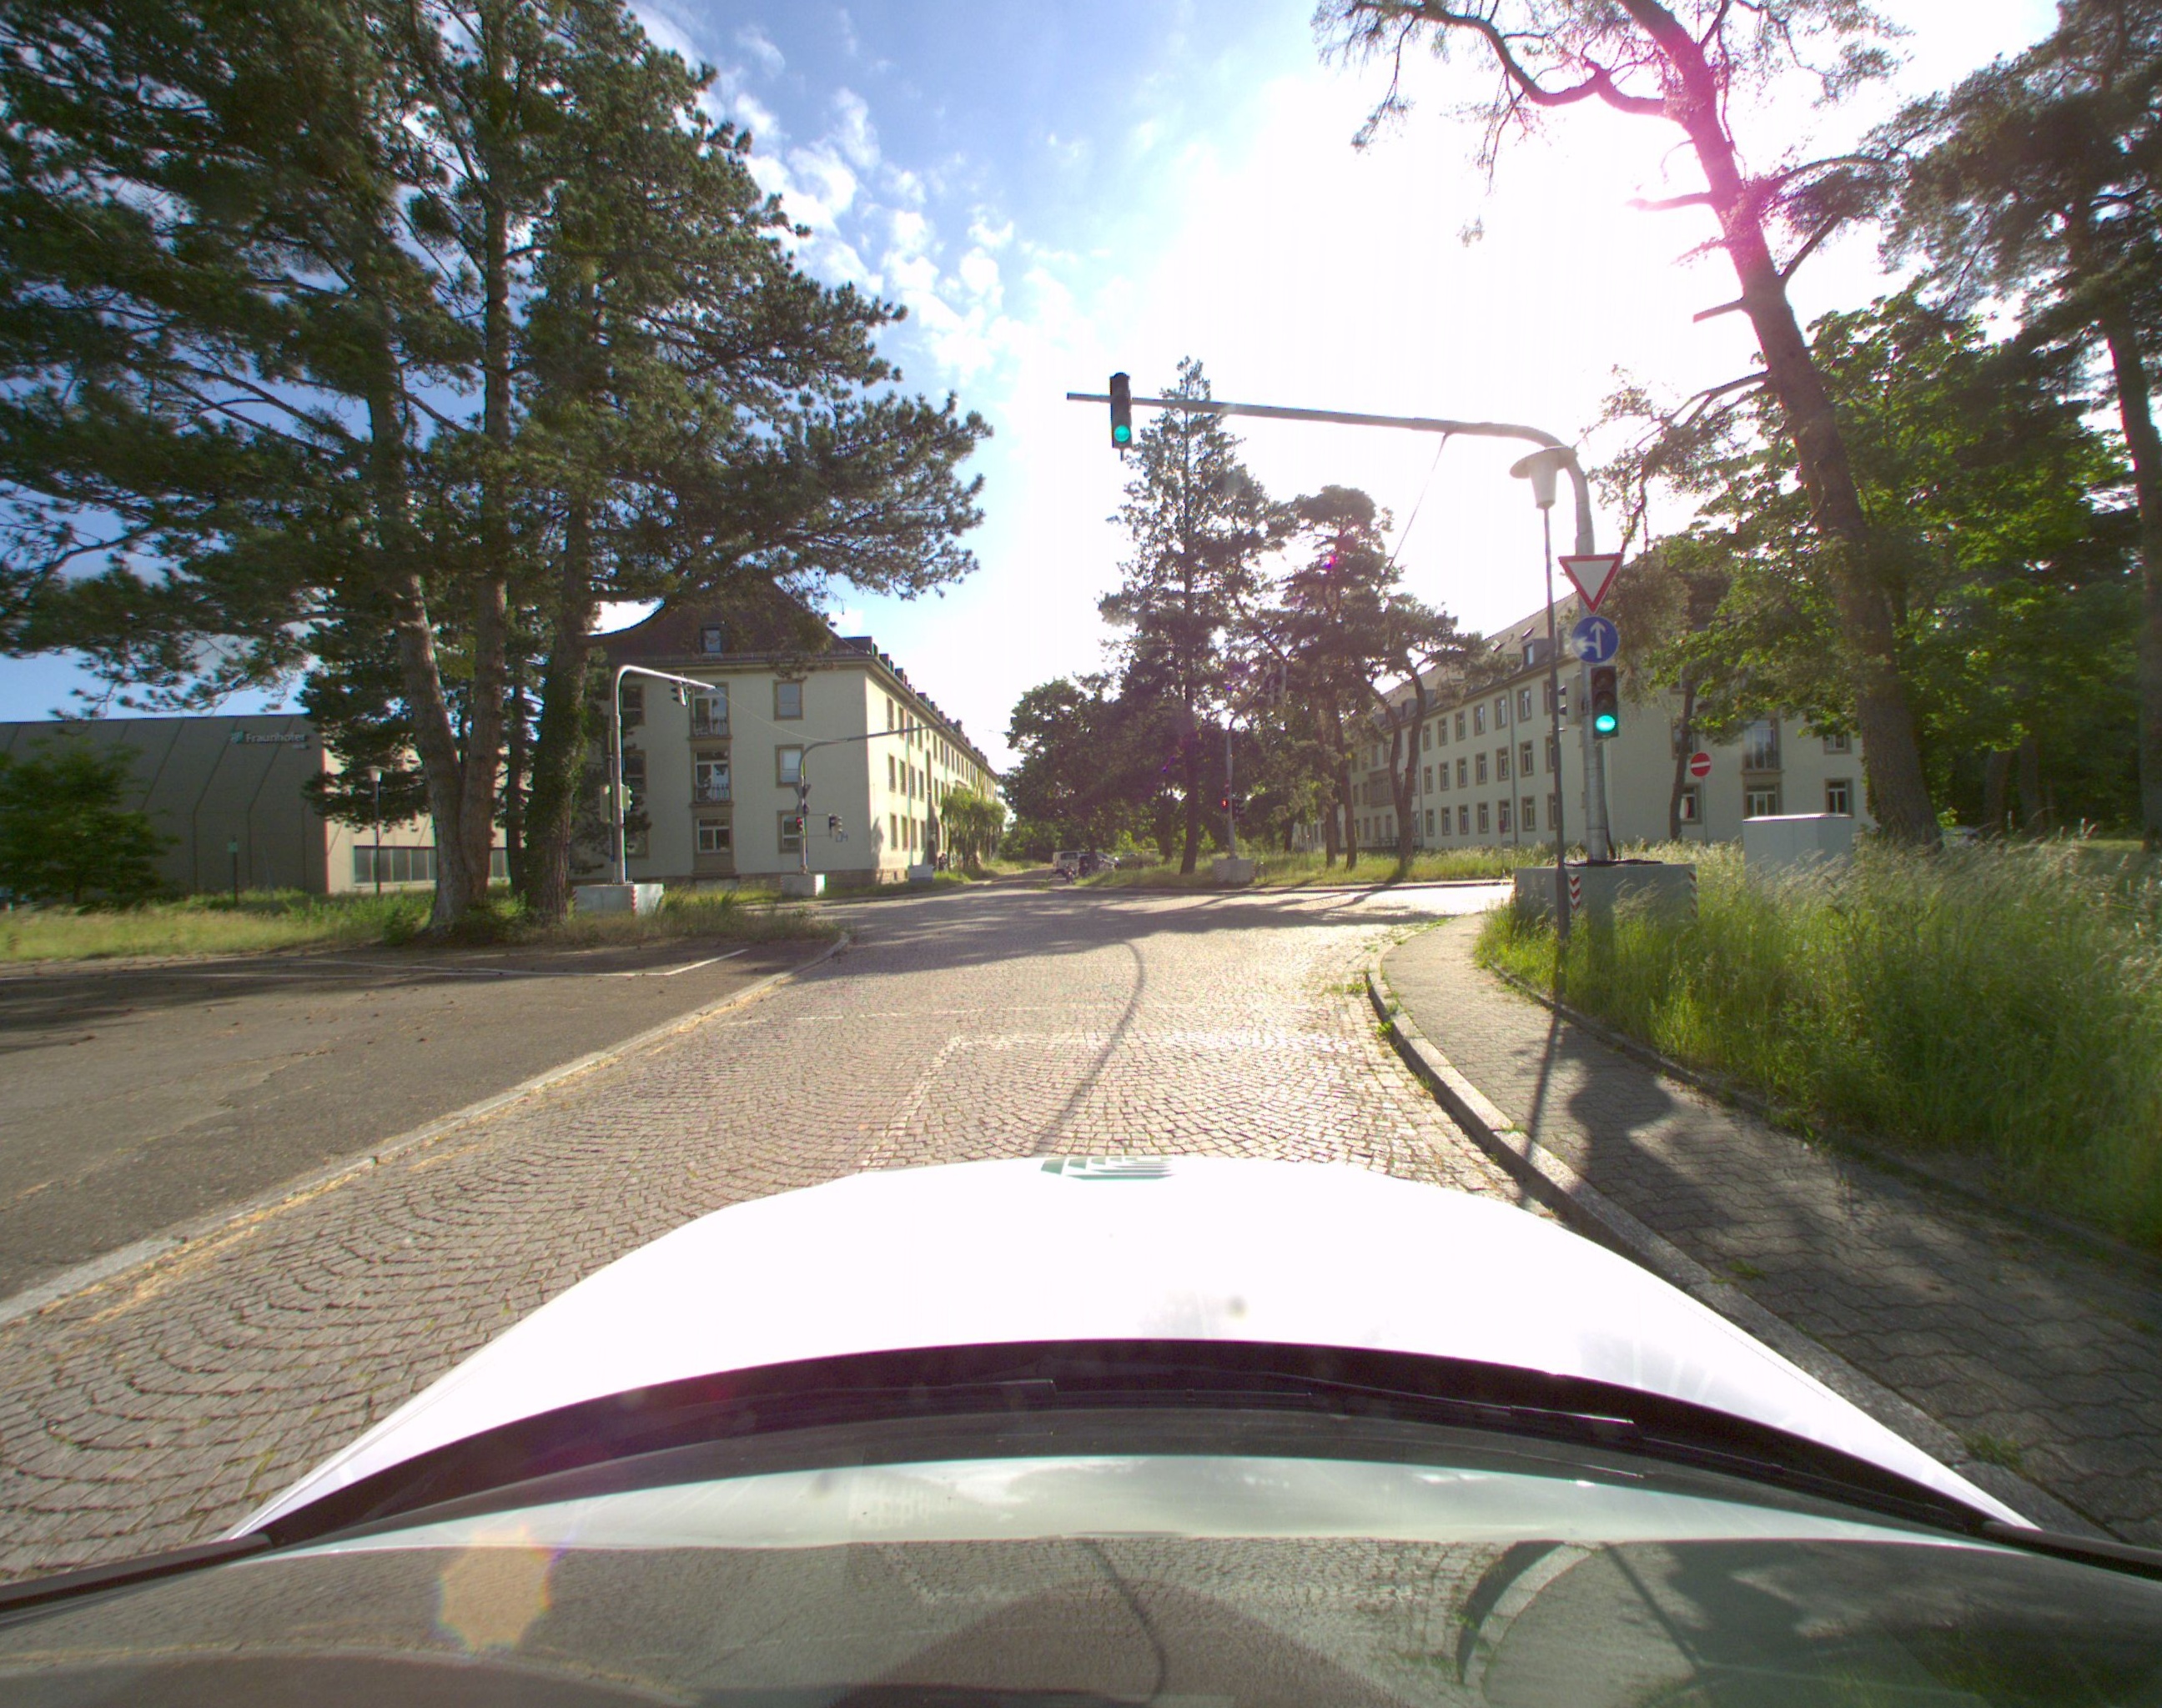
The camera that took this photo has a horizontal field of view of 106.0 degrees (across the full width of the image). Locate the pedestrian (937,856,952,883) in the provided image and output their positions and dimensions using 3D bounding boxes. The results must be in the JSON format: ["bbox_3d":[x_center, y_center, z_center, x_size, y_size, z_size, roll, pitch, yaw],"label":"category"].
[{"bbox_3d":[-9.321,1.034,55.468,0.762,1.817,0.684,-2,0,10],"label":"pedestrian"}]

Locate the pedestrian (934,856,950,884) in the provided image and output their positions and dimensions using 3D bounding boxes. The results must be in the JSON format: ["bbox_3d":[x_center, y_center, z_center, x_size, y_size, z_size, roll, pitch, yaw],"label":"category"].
[{"bbox_3d":[-9.263,1.050,54.355,0.806,1.817,0.556,-2,-1,10],"label":"pedestrian"}]

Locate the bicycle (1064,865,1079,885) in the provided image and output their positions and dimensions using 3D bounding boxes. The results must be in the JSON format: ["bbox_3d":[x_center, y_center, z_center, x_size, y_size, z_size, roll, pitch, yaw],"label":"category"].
[{"bbox_3d":[-0.507,1.054,40.952,0.693,0.971,1.859,-1,0,-2],"label":"bicycle"}]

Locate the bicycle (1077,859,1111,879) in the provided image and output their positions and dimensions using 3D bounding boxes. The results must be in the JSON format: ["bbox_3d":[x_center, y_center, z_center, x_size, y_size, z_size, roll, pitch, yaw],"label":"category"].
[{"bbox_3d":[0.758,0.881,47.549,1.938,1.129,0.646,-2,0,-6],"label":"bicycle"}]

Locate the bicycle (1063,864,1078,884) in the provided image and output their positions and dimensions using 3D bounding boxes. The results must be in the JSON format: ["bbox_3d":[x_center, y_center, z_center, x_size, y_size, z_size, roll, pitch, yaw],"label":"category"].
[{"bbox_3d":[-0.566,1.049,42.889,0.693,0.971,1.859,-1,0,-2],"label":"bicycle"}]

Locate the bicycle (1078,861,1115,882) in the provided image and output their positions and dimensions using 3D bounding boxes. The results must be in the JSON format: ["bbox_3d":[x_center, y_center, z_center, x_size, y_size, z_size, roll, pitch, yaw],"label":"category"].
[{"bbox_3d":[0.856,0.961,45.241,1.936,1.129,0.749,-2,0,-4],"label":"bicycle"}]

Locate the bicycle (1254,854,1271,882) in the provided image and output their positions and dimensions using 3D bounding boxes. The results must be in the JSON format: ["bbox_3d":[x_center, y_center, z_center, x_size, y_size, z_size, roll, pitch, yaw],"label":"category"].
[{"bbox_3d":[7.214,0.533,32.382,0.464,1.080,1.175,-2,-1,3],"label":"bicycle"}]

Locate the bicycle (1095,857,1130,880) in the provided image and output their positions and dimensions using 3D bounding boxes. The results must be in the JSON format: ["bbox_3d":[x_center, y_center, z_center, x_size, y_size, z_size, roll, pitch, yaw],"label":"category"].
[{"bbox_3d":[1.767,0.821,45.953,1.936,1.235,0.485,-2,0,-4],"label":"bicycle"}]

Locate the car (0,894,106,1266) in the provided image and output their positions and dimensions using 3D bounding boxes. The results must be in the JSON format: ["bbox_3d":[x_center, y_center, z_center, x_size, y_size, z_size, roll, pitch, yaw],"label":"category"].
[{"bbox_3d":[-6.556,0.898,2.603,4.530,1.467,1.751,1,0,-3],"label":"car"}]

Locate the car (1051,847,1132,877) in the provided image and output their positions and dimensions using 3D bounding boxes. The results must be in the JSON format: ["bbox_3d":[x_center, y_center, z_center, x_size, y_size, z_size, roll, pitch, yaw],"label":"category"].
[{"bbox_3d":[0.774,0.594,62.388,5.925,2.013,2.469,-2,0,-7],"label":"car"}]

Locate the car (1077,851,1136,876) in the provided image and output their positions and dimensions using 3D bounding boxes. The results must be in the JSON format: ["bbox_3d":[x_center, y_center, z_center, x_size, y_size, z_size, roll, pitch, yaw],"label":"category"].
[{"bbox_3d":[1.799,0.666,58.225,3.985,1.684,1.842,-2,0,-8],"label":"car"}]

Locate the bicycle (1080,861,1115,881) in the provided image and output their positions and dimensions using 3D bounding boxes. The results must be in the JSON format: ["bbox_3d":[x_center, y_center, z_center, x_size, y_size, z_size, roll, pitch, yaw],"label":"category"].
[{"bbox_3d":[0.887,0.914,44.446,1.850,1.031,0.749,-2,0,-4],"label":"bicycle"}]

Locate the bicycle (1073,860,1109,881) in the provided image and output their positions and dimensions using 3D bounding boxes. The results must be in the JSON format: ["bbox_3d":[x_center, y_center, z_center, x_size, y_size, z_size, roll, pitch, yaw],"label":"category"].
[{"bbox_3d":[0.563,0.928,46.456,1.951,1.129,0.642,-2,0,-27],"label":"bicycle"}]
